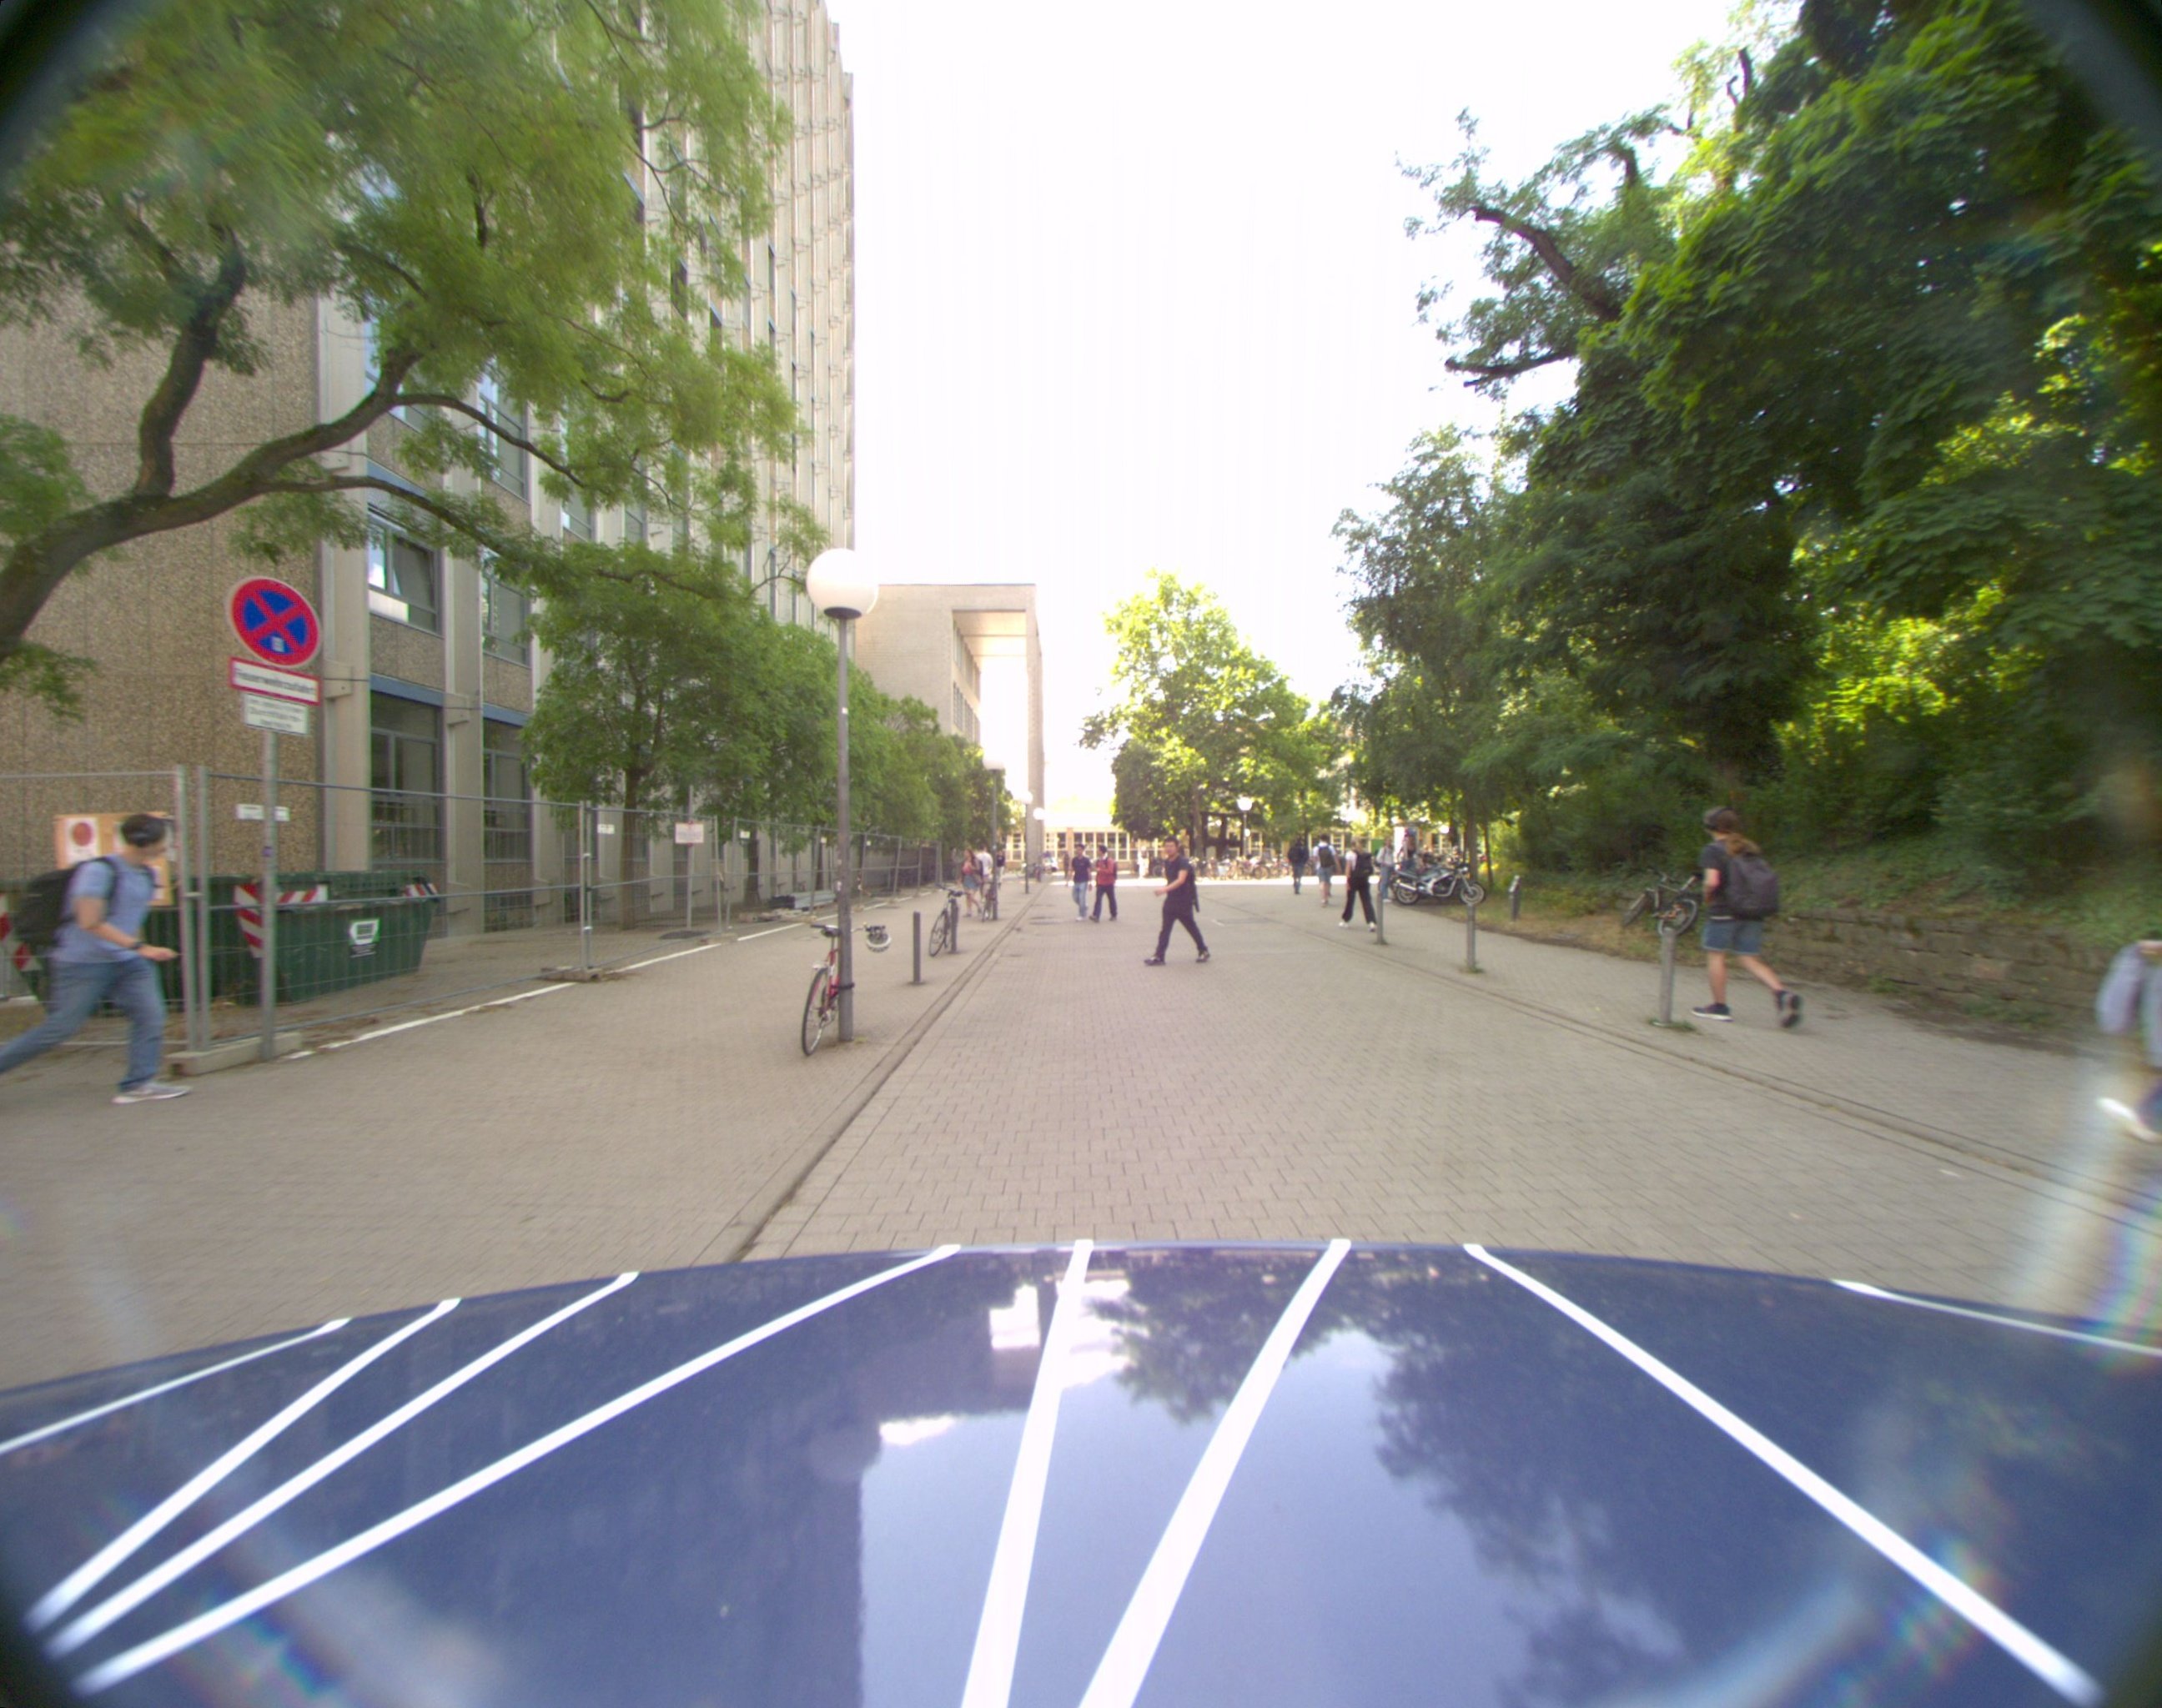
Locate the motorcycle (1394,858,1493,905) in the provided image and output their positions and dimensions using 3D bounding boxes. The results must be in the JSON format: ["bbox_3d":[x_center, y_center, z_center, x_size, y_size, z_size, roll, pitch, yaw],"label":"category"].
[{"bbox_3d":[8.509,0.638,17.912,2.020,1.041,0.475,-2,0,42],"label":"motorcycle"}]

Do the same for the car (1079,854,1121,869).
[{"bbox_3d":[1.873,0.741,77.553,4.209,1.468,1.653,-1,2,-1],"label":"car"}]

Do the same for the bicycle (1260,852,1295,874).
[{"bbox_3d":[9.970,0.444,38.635,1.694,1.077,0.475,0,1,41],"label":"bicycle"}]

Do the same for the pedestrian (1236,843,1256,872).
[{"bbox_3d":[9.769,0.193,45.016,0.904,1.693,0.771,0,1,36],"label":"pedestrian"}]

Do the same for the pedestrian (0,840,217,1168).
[{"bbox_3d":[-5.697,0.753,4.191,1.046,1.642,0.703,-1,2,7],"label":"pedestrian"}]

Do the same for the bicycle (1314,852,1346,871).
[{"bbox_3d":[14.265,0.425,43.547,1.695,1.077,0.475,0,1,35],"label":"bicycle"}]

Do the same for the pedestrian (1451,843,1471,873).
[{"bbox_3d":[23.043,0.262,46.056,0.986,1.793,0.768,-2,1,-45],"label":"pedestrian"}]

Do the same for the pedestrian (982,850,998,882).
[{"bbox_3d":[-4.717,0.629,39.316,0.703,1.645,0.881,0,0,-18],"label":"pedestrian"}]

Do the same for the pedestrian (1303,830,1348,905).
[{"bbox_3d":[6.227,0.324,19.429,0.726,1.871,1.082,-1,2,-5],"label":"pedestrian"}]

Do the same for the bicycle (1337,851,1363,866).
[{"bbox_3d":[20.346,0.361,57.494,0.503,1.102,2.000,-2,1,-31],"label":"bicycle"}]

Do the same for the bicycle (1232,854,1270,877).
[{"bbox_3d":[8.052,0.530,35.984,1.721,1.077,0.474,-1,1,14],"label":"bicycle"}]

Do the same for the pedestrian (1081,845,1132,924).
[{"bbox_3d":[0.579,0.670,17.080,0.717,1.714,1.067,0,0,32],"label":"pedestrian"}]

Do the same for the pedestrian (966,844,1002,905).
[{"bbox_3d":[-3.053,0.632,23.826,0.786,1.834,1.115,-2,1,-25],"label":"pedestrian"}]

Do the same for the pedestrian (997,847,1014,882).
[{"bbox_3d":[-3.883,0.540,38.948,0.703,1.792,0.881,0,0,-18],"label":"pedestrian"}]

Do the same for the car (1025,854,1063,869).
[{"bbox_3d":[-3.767,0.746,77.526,3.777,1.468,1.652,0,2,-1],"label":"car"}]

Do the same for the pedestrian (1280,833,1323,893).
[{"bbox_3d":[7.113,0.277,24.502,1.034,1.847,0.886,-2,1,-38],"label":"pedestrian"}]

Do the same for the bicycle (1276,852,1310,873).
[{"bbox_3d":[11.259,0.441,40.359,1.695,1.077,0.475,0,1,35],"label":"bicycle"}]

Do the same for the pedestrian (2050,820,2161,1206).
[{"bbox_3d":[4.849,0.661,3.063,0.684,1.611,0.913,-1,2,-5],"label":"pedestrian"}]

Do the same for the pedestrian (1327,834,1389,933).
[{"bbox_3d":[5.053,0.513,13.893,0.684,1.718,1.001,-2,2,-5],"label":"pedestrian"}]

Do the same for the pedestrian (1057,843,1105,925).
[{"bbox_3d":[0.005,0.678,17.594,0.684,1.824,0.943,0,0,34],"label":"pedestrian"}]

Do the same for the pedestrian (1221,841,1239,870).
[{"bbox_3d":[9.328,0.067,47.534,0.771,1.796,0.708,-1,1,-33],"label":"pedestrian"}]

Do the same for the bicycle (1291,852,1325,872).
[{"bbox_3d":[12.374,0.436,41.482,1.695,1.077,0.475,0,1,35],"label":"bicycle"}]

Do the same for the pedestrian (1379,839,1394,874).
[{"bbox_3d":[16.156,0.134,40.160,0.612,1.825,1.052,0,1,31],"label":"pedestrian"}]

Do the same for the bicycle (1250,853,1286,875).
[{"bbox_3d":[9.266,0.477,37.752,1.694,1.077,0.475,0,1,41],"label":"bicycle"}]

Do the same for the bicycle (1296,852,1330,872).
[{"bbox_3d":[12.836,0.421,42.038,1.695,1.077,0.475,0,1,35],"label":"bicycle"}]

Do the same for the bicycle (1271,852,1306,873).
[{"bbox_3d":[10.771,0.441,39.479,1.695,1.077,0.475,0,1,38],"label":"bicycle"}]

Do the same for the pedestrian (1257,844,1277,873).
[{"bbox_3d":[10.889,0.241,44.498,0.904,1.693,0.771,0,1,31],"label":"pedestrian"}]

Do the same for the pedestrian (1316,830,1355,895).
[{"bbox_3d":[7.541,0.237,22.557,0.684,1.862,1.120,-1,2,-5],"label":"pedestrian"}]

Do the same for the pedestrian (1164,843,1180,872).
[{"bbox_3d":[5.432,0.197,45.184,0.768,1.670,0.908,0,0,20],"label":"pedestrian"}]

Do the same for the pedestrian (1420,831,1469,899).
[{"bbox_3d":[9.436,0.272,19.755,0.679,1.714,0.935,0,0,-37],"label":"pedestrian"}]

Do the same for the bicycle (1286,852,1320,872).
[{"bbox_3d":[12.029,0.433,41.108,1.695,1.077,0.475,0,1,35],"label":"bicycle"}]

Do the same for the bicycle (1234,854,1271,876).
[{"bbox_3d":[8.350,0.535,36.969,1.696,1.077,0.475,-1,1,19],"label":"bicycle"}]

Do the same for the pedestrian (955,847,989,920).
[{"bbox_3d":[-2.625,0.695,18.369,0.686,1.714,0.731,-2,1,-2],"label":"pedestrian"}]

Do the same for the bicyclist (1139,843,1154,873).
[{"bbox_3d":[3.485,0.218,40.509,0.595,1.559,0.721,-1,1,-8],"label":"bicyclist"}]

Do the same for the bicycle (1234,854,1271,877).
[{"bbox_3d":[8.239,0.539,36.491,1.696,1.077,0.475,-1,1,19],"label":"bicycle"}]

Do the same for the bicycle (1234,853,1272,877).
[{"bbox_3d":[8.012,0.515,35.448,1.697,1.104,0.474,-1,1,12],"label":"bicycle"}]

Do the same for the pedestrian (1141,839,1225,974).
[{"bbox_3d":[1.380,0.665,10.253,0.684,1.714,0.906,0,1,43],"label":"pedestrian"}]

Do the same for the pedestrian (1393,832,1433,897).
[{"bbox_3d":[8.929,0.284,20.449,0.687,1.714,0.729,0,0,-37],"label":"pedestrian"}]

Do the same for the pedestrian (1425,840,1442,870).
[{"bbox_3d":[21.196,0.056,45.671,0.832,1.804,0.884,0,1,32],"label":"pedestrian"}]

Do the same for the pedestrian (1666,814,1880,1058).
[{"bbox_3d":[5.306,0.574,5.905,0.684,1.718,1.020,-1,2,-5],"label":"pedestrian"}]

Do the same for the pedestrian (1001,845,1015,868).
[{"bbox_3d":[-5.676,0.186,59.267,0.960,1.803,0.769,-1,1,-10],"label":"pedestrian"}]
